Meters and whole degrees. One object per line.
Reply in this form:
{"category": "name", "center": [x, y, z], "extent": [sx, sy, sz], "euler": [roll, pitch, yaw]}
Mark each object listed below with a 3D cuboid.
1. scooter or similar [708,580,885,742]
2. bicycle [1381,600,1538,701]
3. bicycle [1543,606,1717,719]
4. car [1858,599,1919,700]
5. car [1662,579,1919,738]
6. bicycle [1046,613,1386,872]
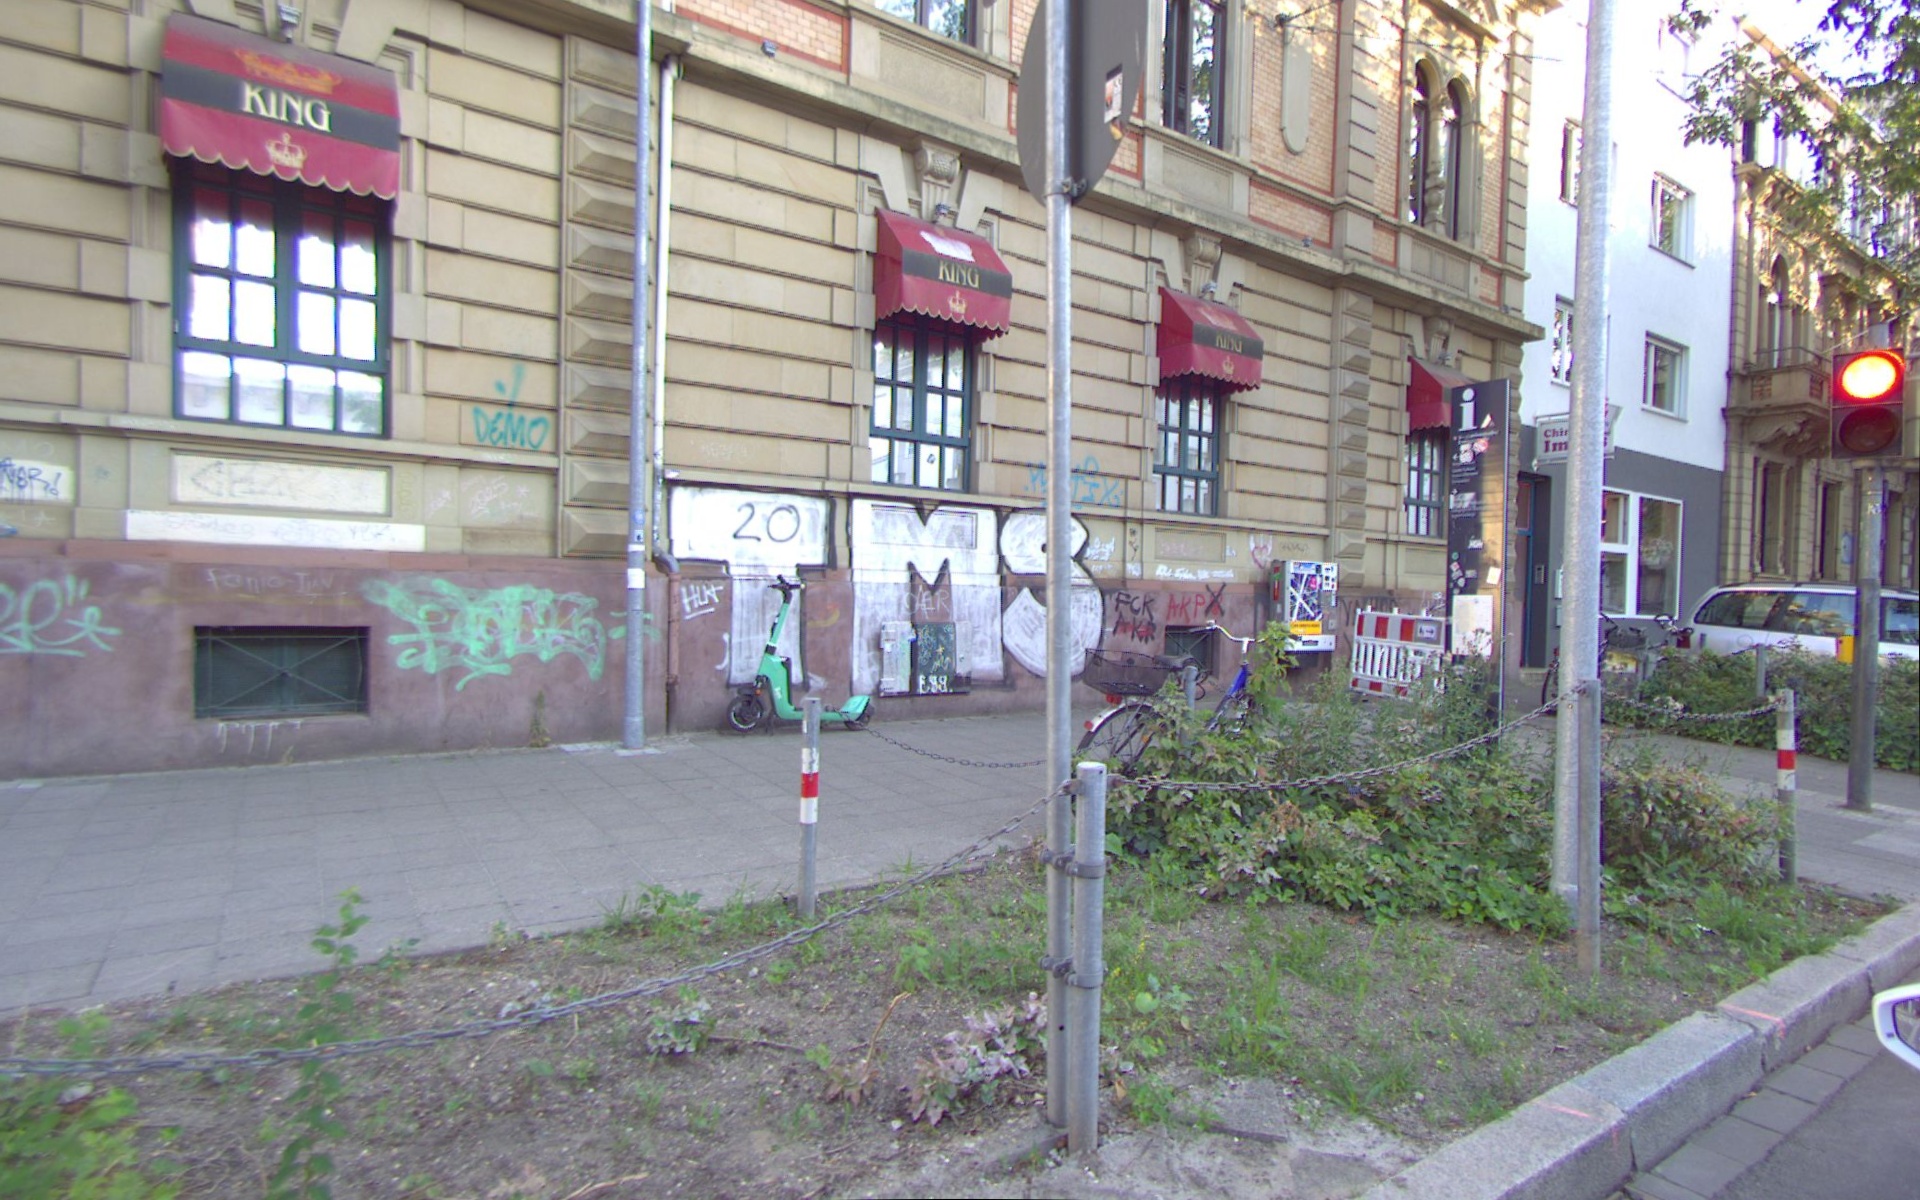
{"category": "scooter or similar", "center": [-1.276, 0.459, 7.835], "extent": [1.268, 1.184, 0.437], "euler": [1, 2, -22]}
{"category": "bicycle", "center": [6.590, 0.640, 13.193], "extent": [2.536, 1.218, 0.633], "euler": [1, 0, -33]}
{"category": "bicycle", "center": [8.003, 0.702, 11.951], "extent": [2.606, 1.202, 0.730], "euler": [1, 2, -34]}
{"category": "car", "center": [18.031, 0.889, 16.545], "extent": [1.813, 1.711, 4.521], "euler": [1, 0, -33]}
{"category": "car", "center": [11.729, 0.694, 12.536], "extent": [1.816, 1.859, 4.515], "euler": [1, 0, -36]}
{"category": "bicycle", "center": [1.449, 0.674, 5.440], "extent": [2.080, 1.169, 0.507], "euler": [1, 3, -35]}
